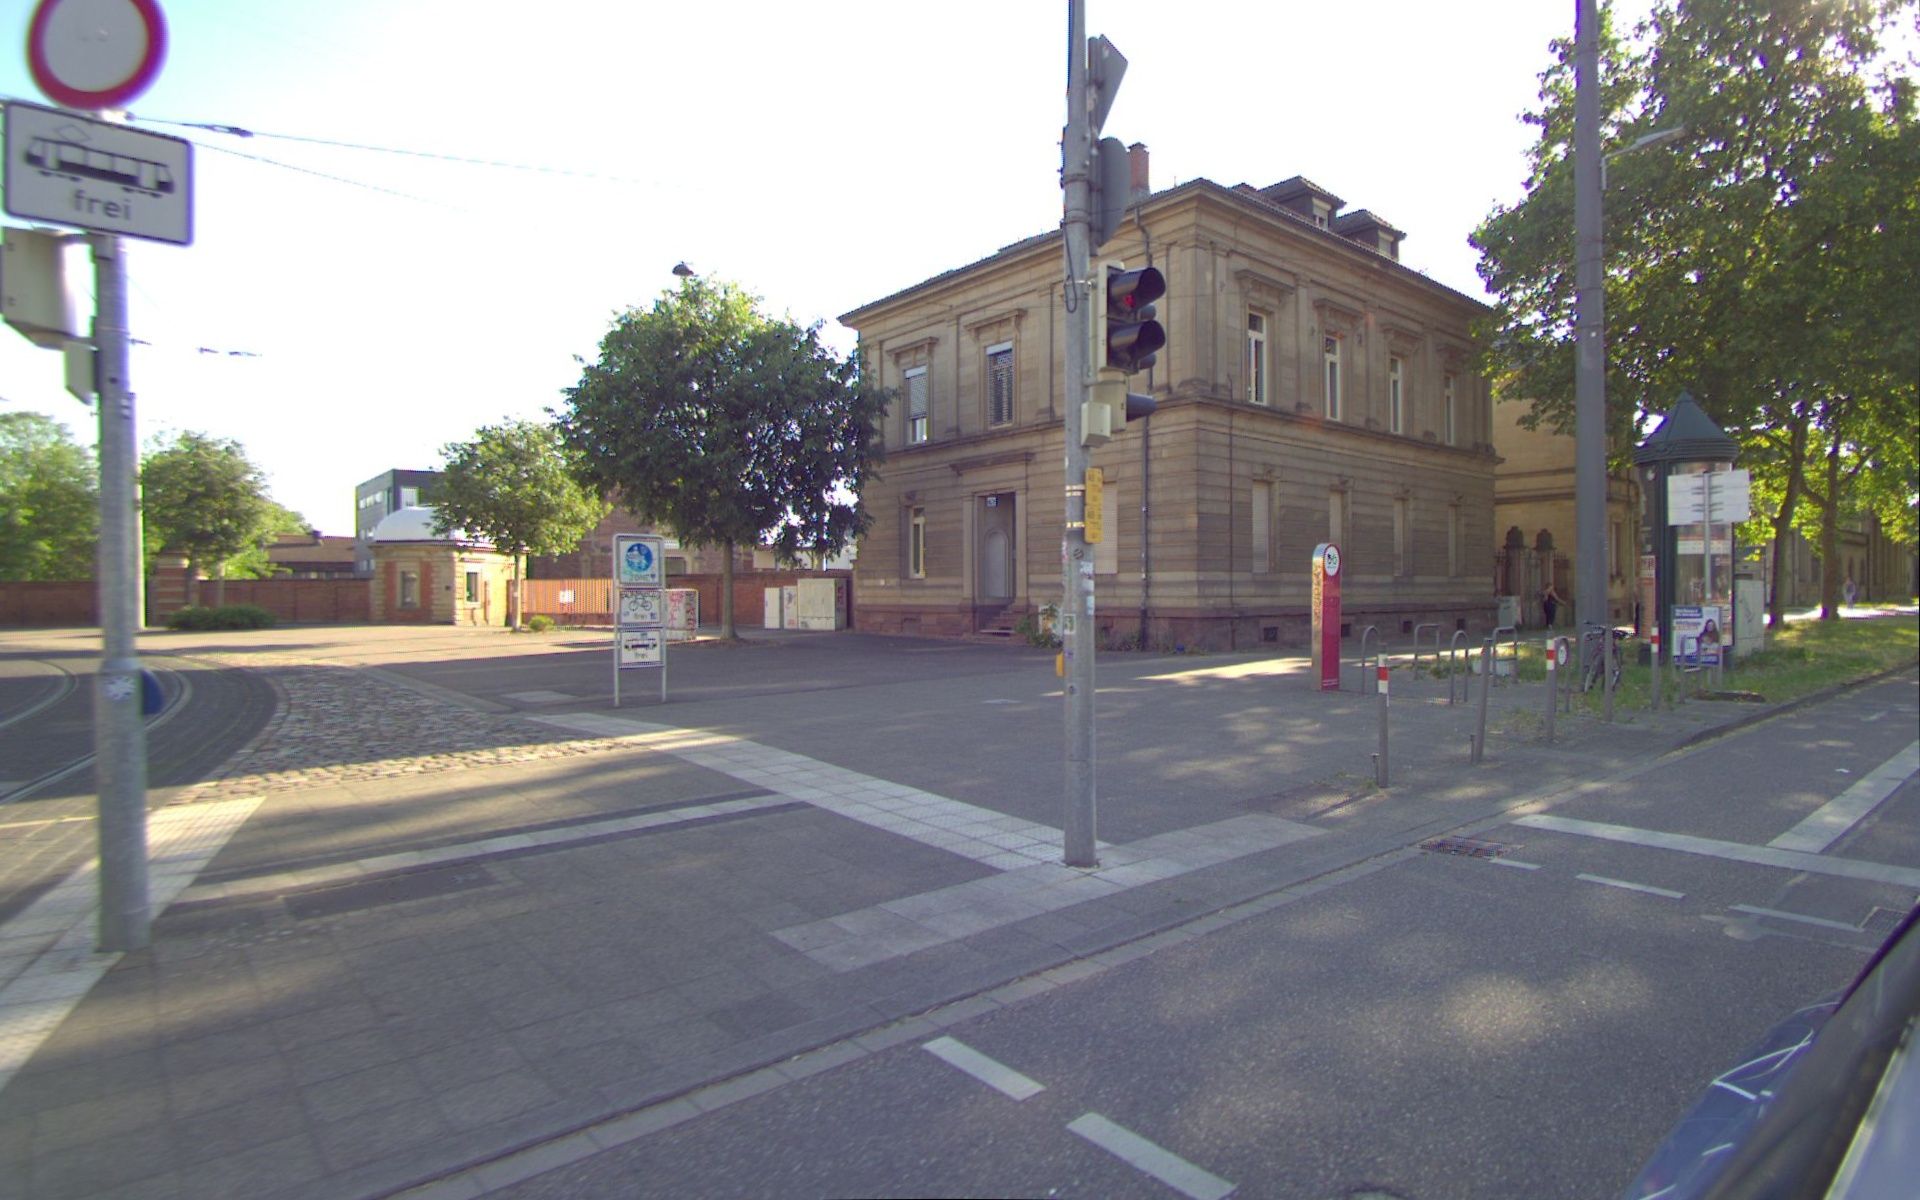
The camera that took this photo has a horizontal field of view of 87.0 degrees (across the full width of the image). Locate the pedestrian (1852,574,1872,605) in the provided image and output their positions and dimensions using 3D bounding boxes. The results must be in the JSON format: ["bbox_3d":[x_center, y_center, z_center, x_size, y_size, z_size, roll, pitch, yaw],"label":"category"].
[{"bbox_3d":[49.450,-0.580,55.508,0.858,1.683,0.672,0,1,-39],"label":"pedestrian"}]

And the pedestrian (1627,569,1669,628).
[{"bbox_3d":[20.697,-0.046,30.438,1.023,1.731,0.771,-1,1,-39],"label":"pedestrian"}]

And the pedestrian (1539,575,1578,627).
[{"bbox_3d":[19.087,0.010,32.274,0.968,1.626,0.771,-1,1,-39],"label":"pedestrian"}]

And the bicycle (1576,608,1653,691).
[{"bbox_3d":[9.284,0.667,14.331,1.742,1.075,0.540,-1,1,-44],"label":"bicycle"}]
